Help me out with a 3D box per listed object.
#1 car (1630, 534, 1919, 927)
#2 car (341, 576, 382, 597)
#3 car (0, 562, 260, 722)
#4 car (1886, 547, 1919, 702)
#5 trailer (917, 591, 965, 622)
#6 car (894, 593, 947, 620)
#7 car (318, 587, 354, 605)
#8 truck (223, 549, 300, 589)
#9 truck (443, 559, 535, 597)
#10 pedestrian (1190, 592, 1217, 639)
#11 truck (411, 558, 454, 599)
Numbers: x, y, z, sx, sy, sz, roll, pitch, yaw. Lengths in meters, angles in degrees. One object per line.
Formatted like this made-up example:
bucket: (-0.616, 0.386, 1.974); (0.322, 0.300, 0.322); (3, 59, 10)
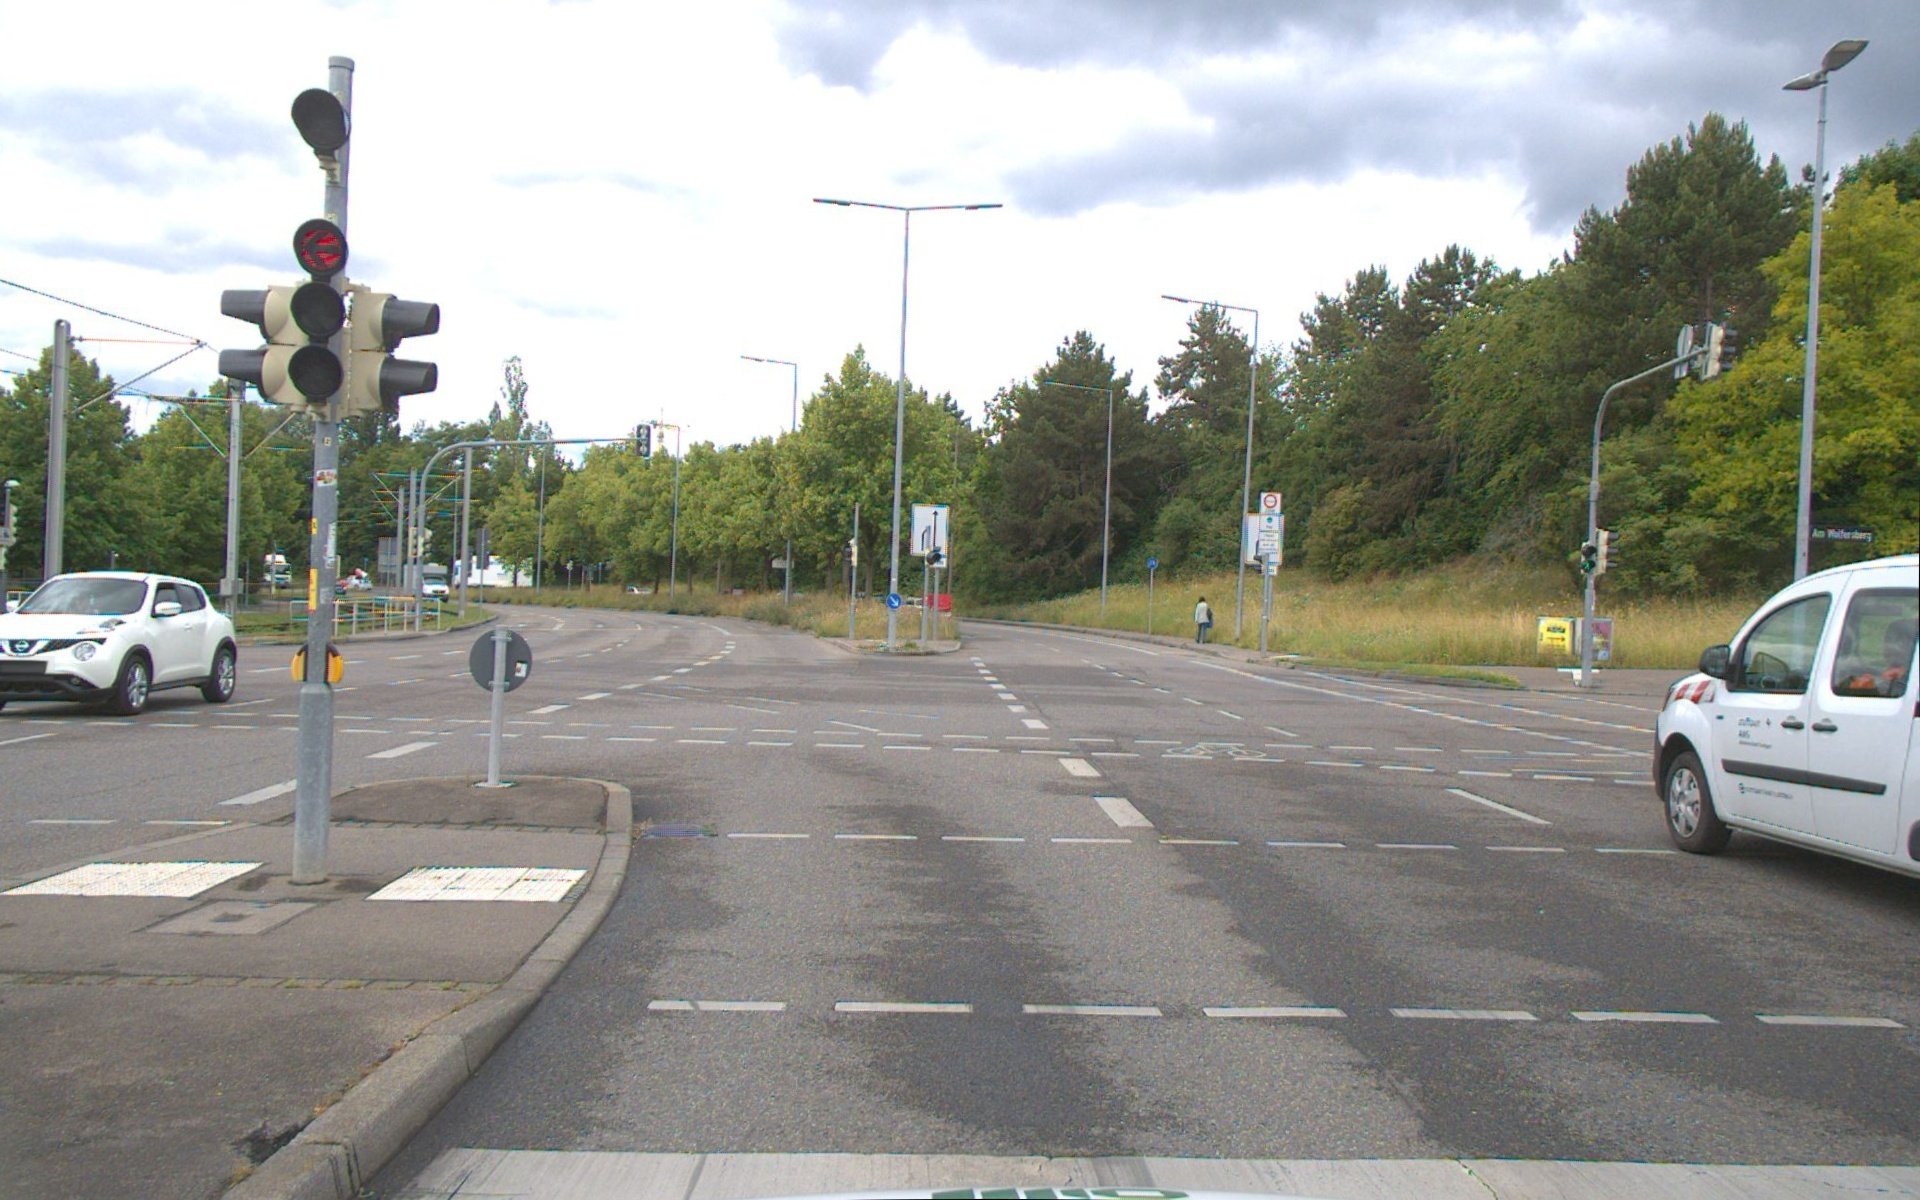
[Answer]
car: (5.448, 0.619, 8.558); (1.954, 1.833, 4.838); (0, 0, -1)
car: (-60.688, -1.397, 167.708); (3.919, 2.049, 1.993); (1, 0, 36)
car: (-9.899, 0.423, 19.345); (1.793, 1.657, 4.422); (0, 0, -4)
car: (20.338, 0.467, 30.097); (5.772, 2.830, 2.135); (0, 0, -1)
trailer: (-1.057, 0.341, 89.504); (1.738, 1.644, 3.028); (1, 0, -19)
car: (-2.226, 0.362, 93.037); (1.751, 1.446, 4.435); (1, 0, -18)
car: (-56.427, -0.376, 149.476); (1.768, 1.471, 4.467); (-1, 3, -38)
truck: (-70.415, -3.064, 166.498); (3.034, 3.826, 12.611); (1, 0, -43)
truck: (-44.240, -2.112, 155.100); (11.202, 3.387, 2.733); (1, 0, 42)
pedestrian: (8.717, 0.553, 59.211); (0.797, 1.656, 0.790); (1, 0, -1)
truck: (-42.222, -1.699, 132.349); (2.092, 3.190, 5.842); (1, 0, -29)
